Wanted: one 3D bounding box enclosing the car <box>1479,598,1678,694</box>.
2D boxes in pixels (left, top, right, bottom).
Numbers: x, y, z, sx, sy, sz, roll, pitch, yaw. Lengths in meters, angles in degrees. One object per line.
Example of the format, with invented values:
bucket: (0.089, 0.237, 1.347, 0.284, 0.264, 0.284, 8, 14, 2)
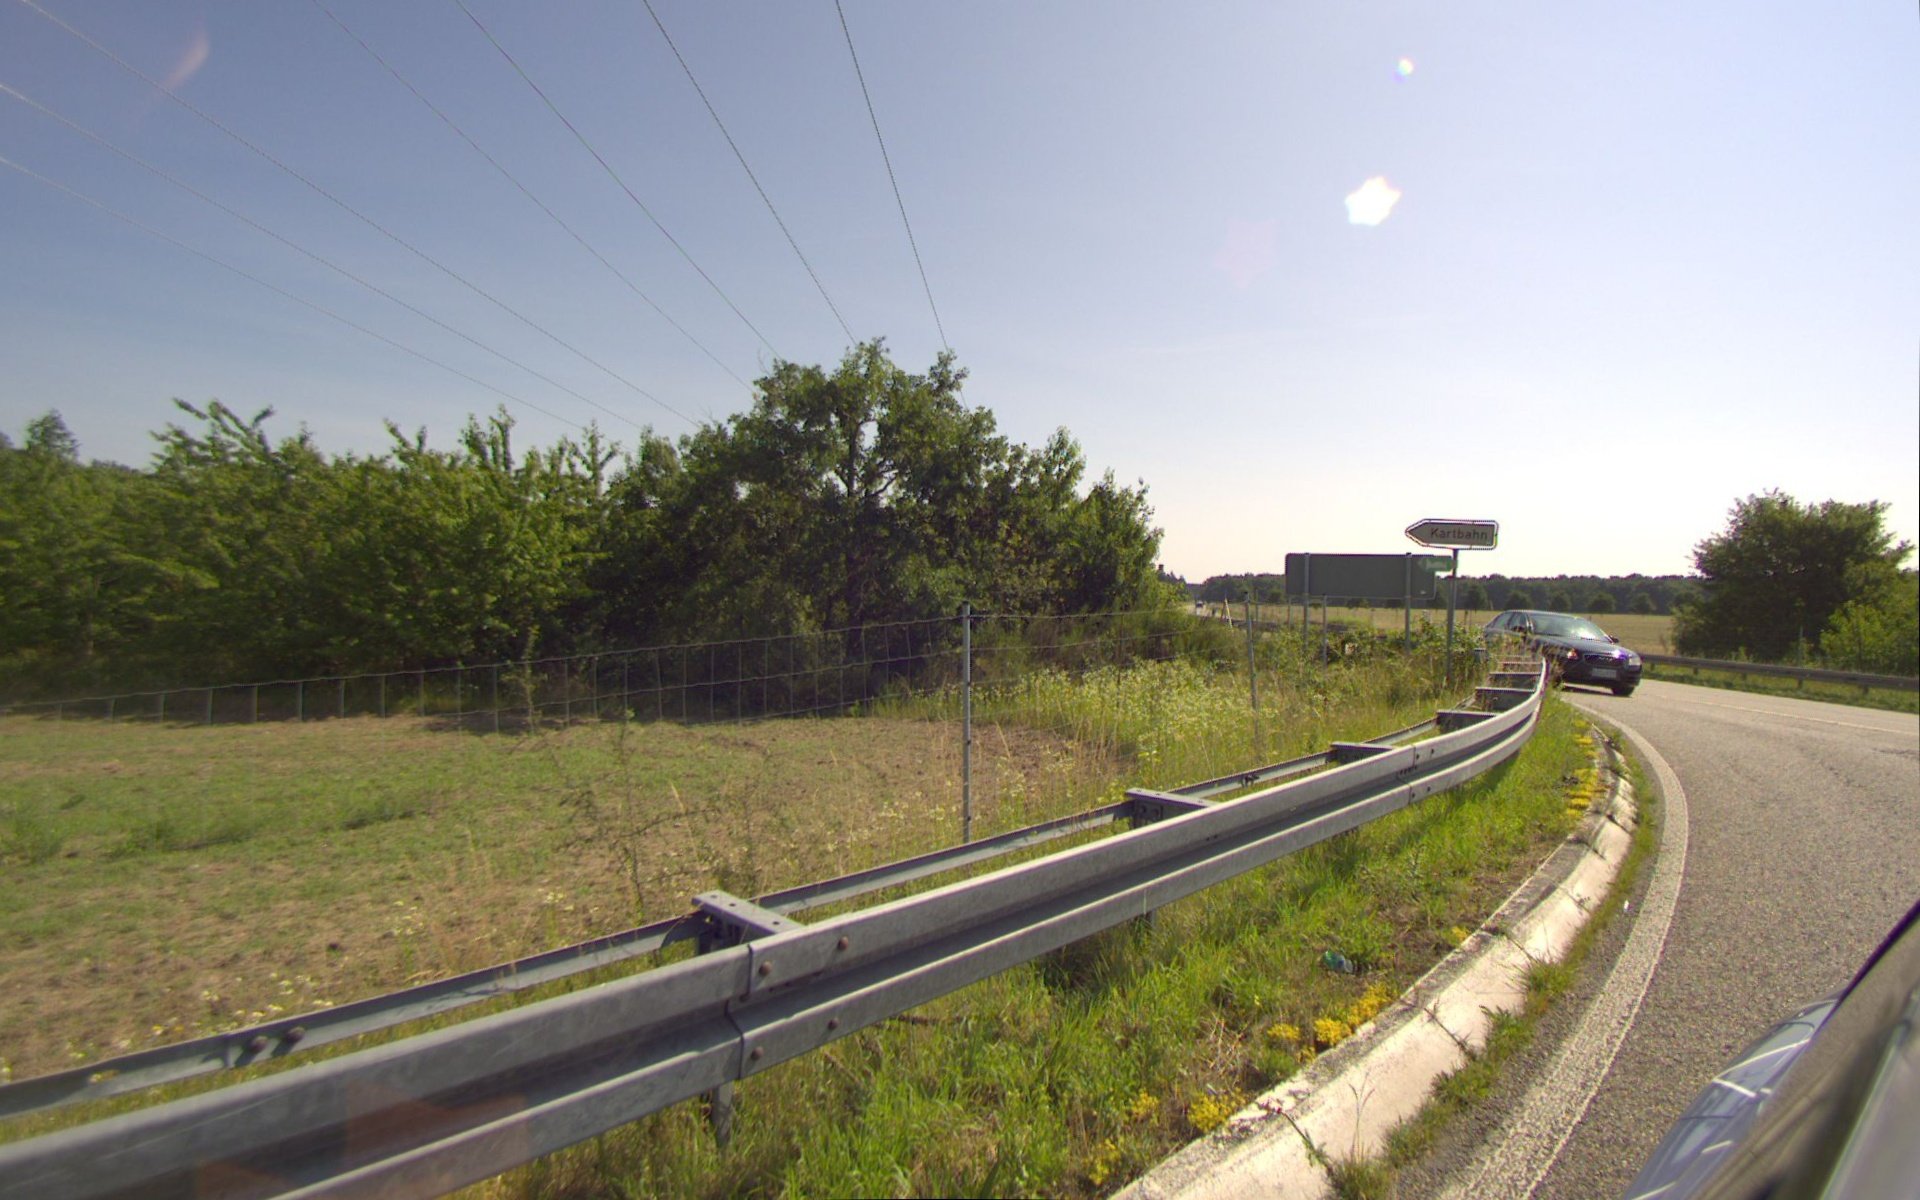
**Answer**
car: (11.524, 0.792, 19.220, 1.859, 1.474, 4.060, 5, 0, 12)
